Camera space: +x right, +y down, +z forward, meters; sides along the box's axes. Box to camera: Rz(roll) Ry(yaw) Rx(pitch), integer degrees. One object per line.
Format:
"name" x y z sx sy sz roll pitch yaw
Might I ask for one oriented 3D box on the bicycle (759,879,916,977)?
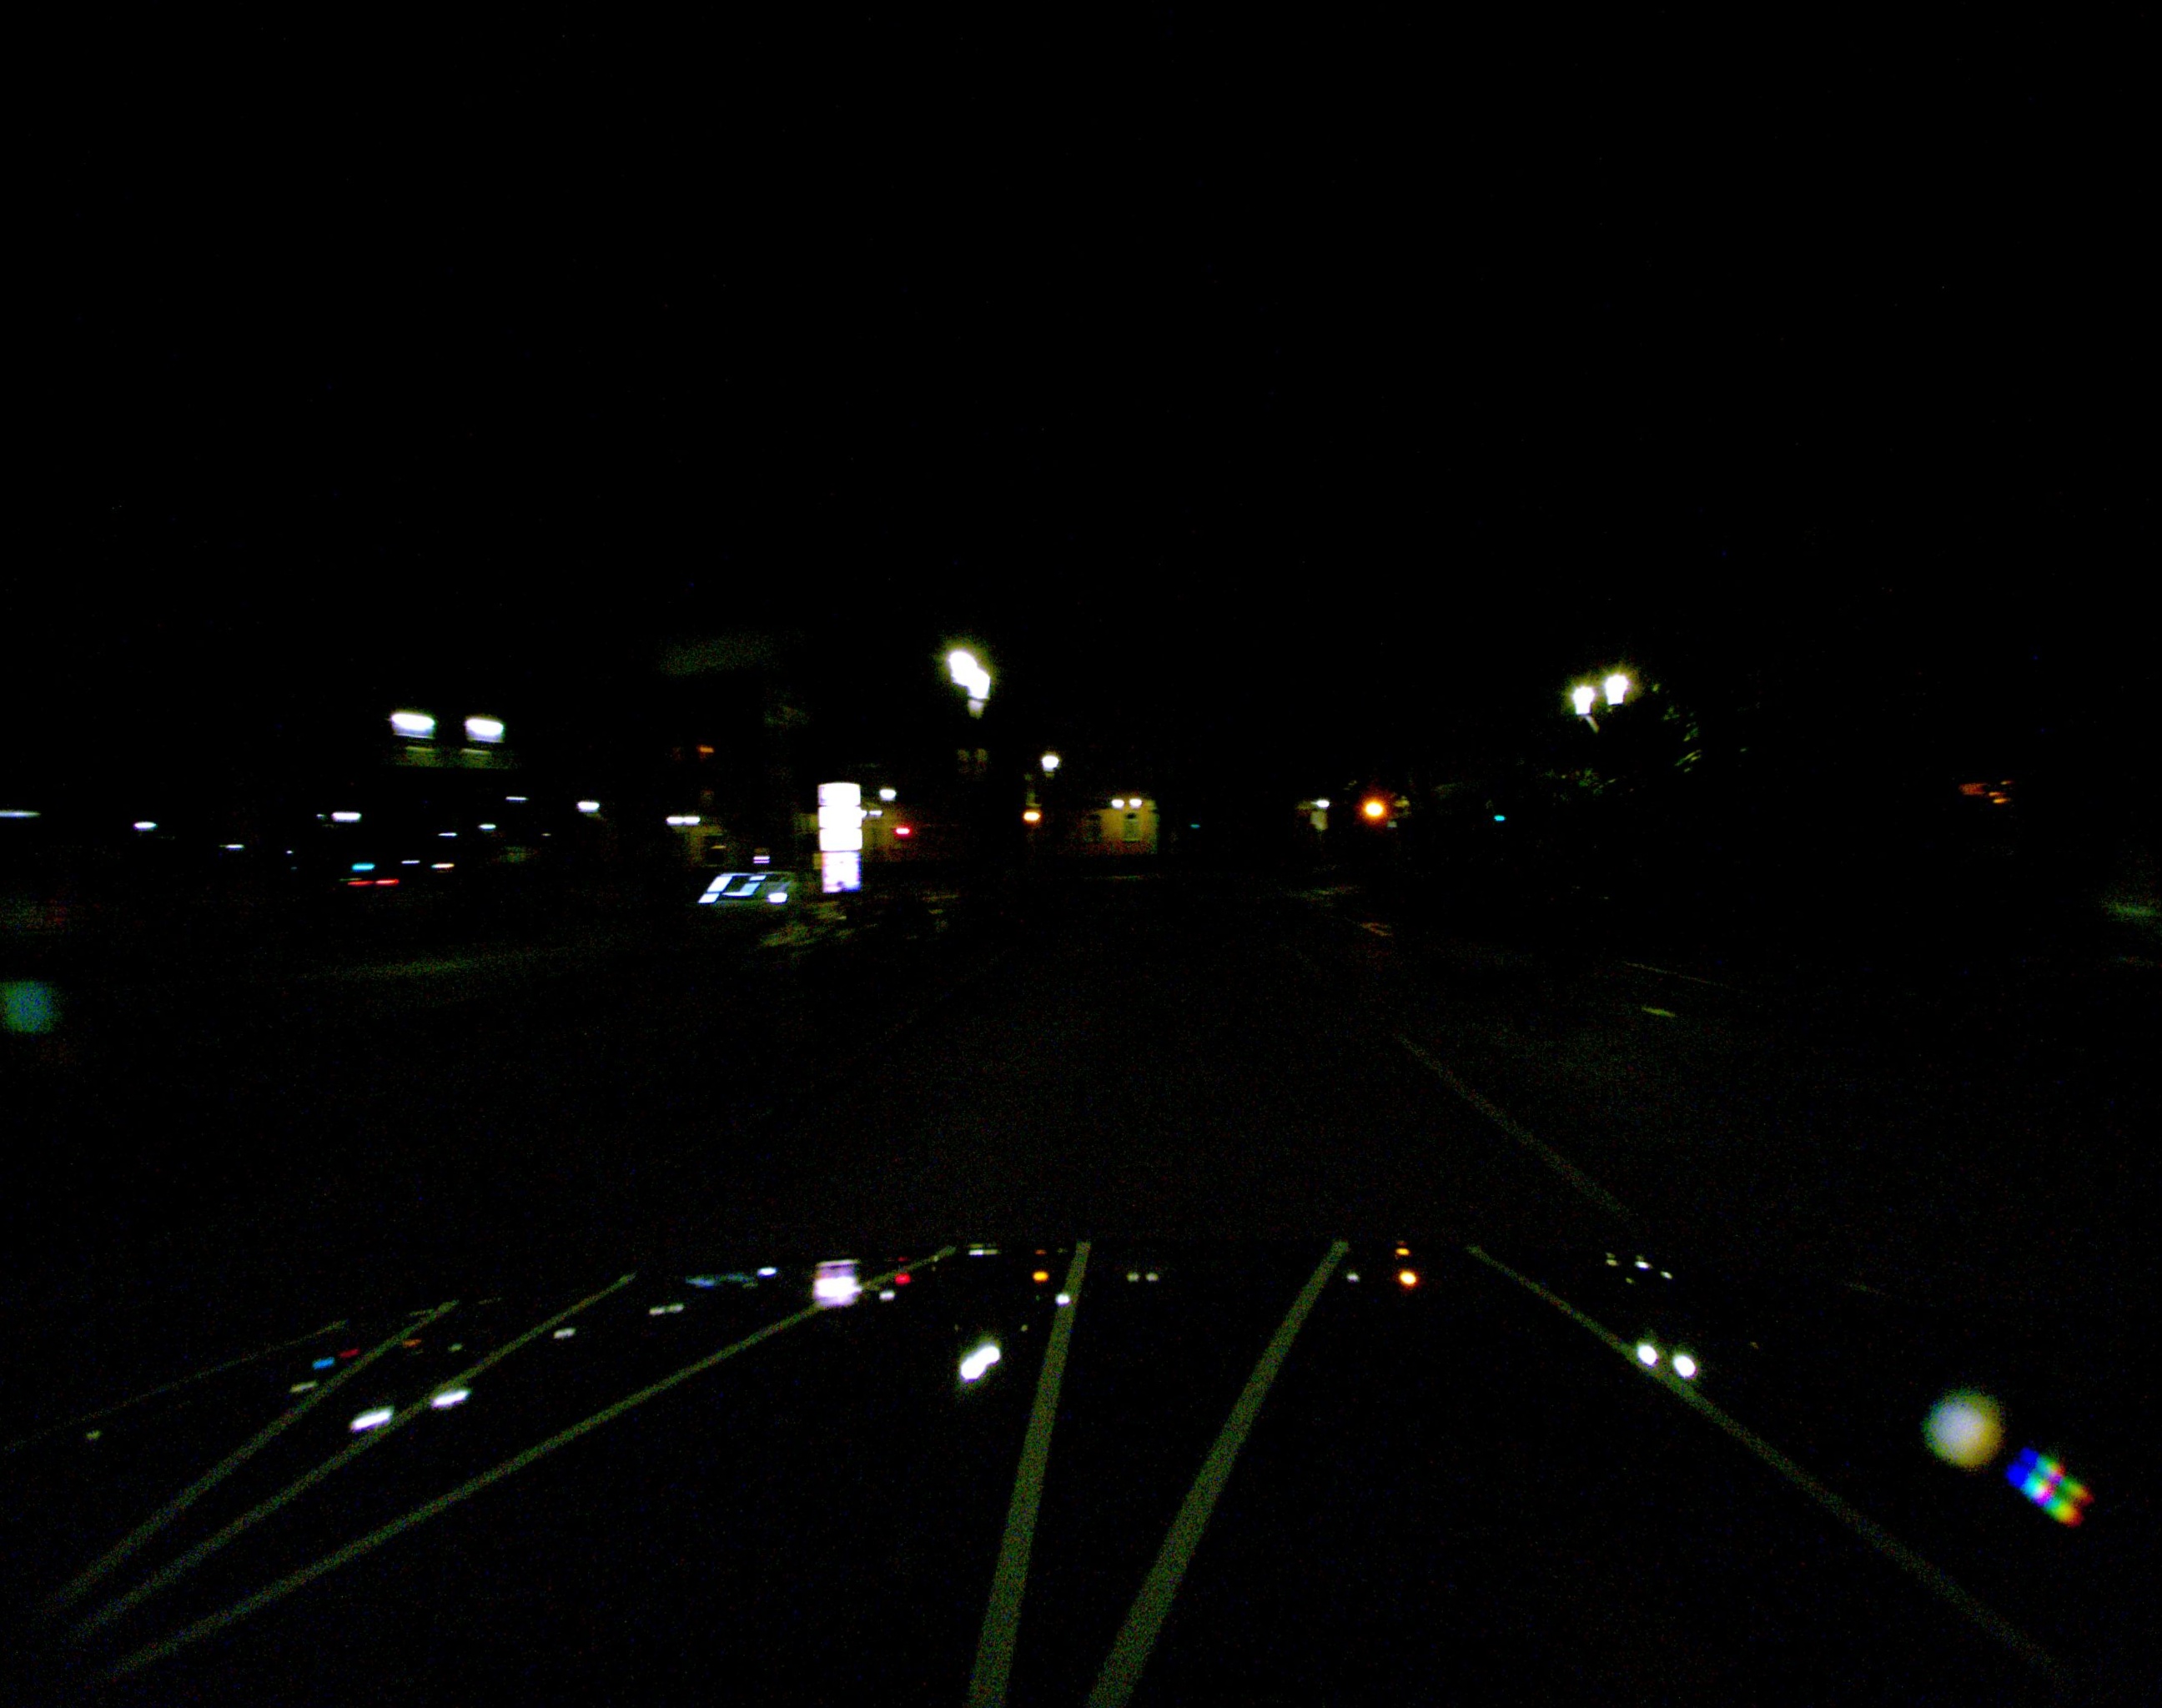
"bicycle" -3.096 0.931 9.740 1.776 1.144 0.614 -2 1 3

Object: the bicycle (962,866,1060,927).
"bicycle" -1.406 0.853 15.464 1.869 1.128 0.725 -2 1 3

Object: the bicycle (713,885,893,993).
"bicycle" -3.219 0.974 8.920 1.786 1.144 0.760 -2 1 3

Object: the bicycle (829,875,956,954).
"bicycle" -2.898 0.932 11.747 1.775 1.144 0.582 -2 1 9

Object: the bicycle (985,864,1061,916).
"bicycle" -1.332 0.823 17.609 1.658 1.128 0.642 -2 1 4

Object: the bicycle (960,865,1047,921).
"bicycle" -1.698 0.850 16.758 1.792 1.128 0.629 -2 1 3

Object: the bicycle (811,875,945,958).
"bicycle" -2.970 0.908 11.147 1.775 1.144 0.582 -2 1 9

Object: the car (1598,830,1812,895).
"car" 16.216 0.212 19.920 3.995 1.518 1.820 -2 1 6

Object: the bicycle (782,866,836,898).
"bicycle" -10.397 1.050 29.059 0.648 1.121 1.807 -1 1 44

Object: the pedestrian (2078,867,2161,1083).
"pedestrian" 7.318 0.788 5.030 0.677 1.370 0.576 -2 1 1

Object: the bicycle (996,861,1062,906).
"bicycle" -1.411 0.789 20.725 1.659 1.134 0.828 -2 1 4

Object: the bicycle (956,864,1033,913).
"bicycle" -2.122 0.838 18.796 1.773 1.134 0.687 -2 1 4

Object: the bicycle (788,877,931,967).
"bicycle" -3.040 0.929 10.511 1.776 1.144 0.582 -2 1 3

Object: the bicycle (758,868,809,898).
"bicycle" -12.084 1.158 30.897 0.648 1.121 1.807 -1 1 44
